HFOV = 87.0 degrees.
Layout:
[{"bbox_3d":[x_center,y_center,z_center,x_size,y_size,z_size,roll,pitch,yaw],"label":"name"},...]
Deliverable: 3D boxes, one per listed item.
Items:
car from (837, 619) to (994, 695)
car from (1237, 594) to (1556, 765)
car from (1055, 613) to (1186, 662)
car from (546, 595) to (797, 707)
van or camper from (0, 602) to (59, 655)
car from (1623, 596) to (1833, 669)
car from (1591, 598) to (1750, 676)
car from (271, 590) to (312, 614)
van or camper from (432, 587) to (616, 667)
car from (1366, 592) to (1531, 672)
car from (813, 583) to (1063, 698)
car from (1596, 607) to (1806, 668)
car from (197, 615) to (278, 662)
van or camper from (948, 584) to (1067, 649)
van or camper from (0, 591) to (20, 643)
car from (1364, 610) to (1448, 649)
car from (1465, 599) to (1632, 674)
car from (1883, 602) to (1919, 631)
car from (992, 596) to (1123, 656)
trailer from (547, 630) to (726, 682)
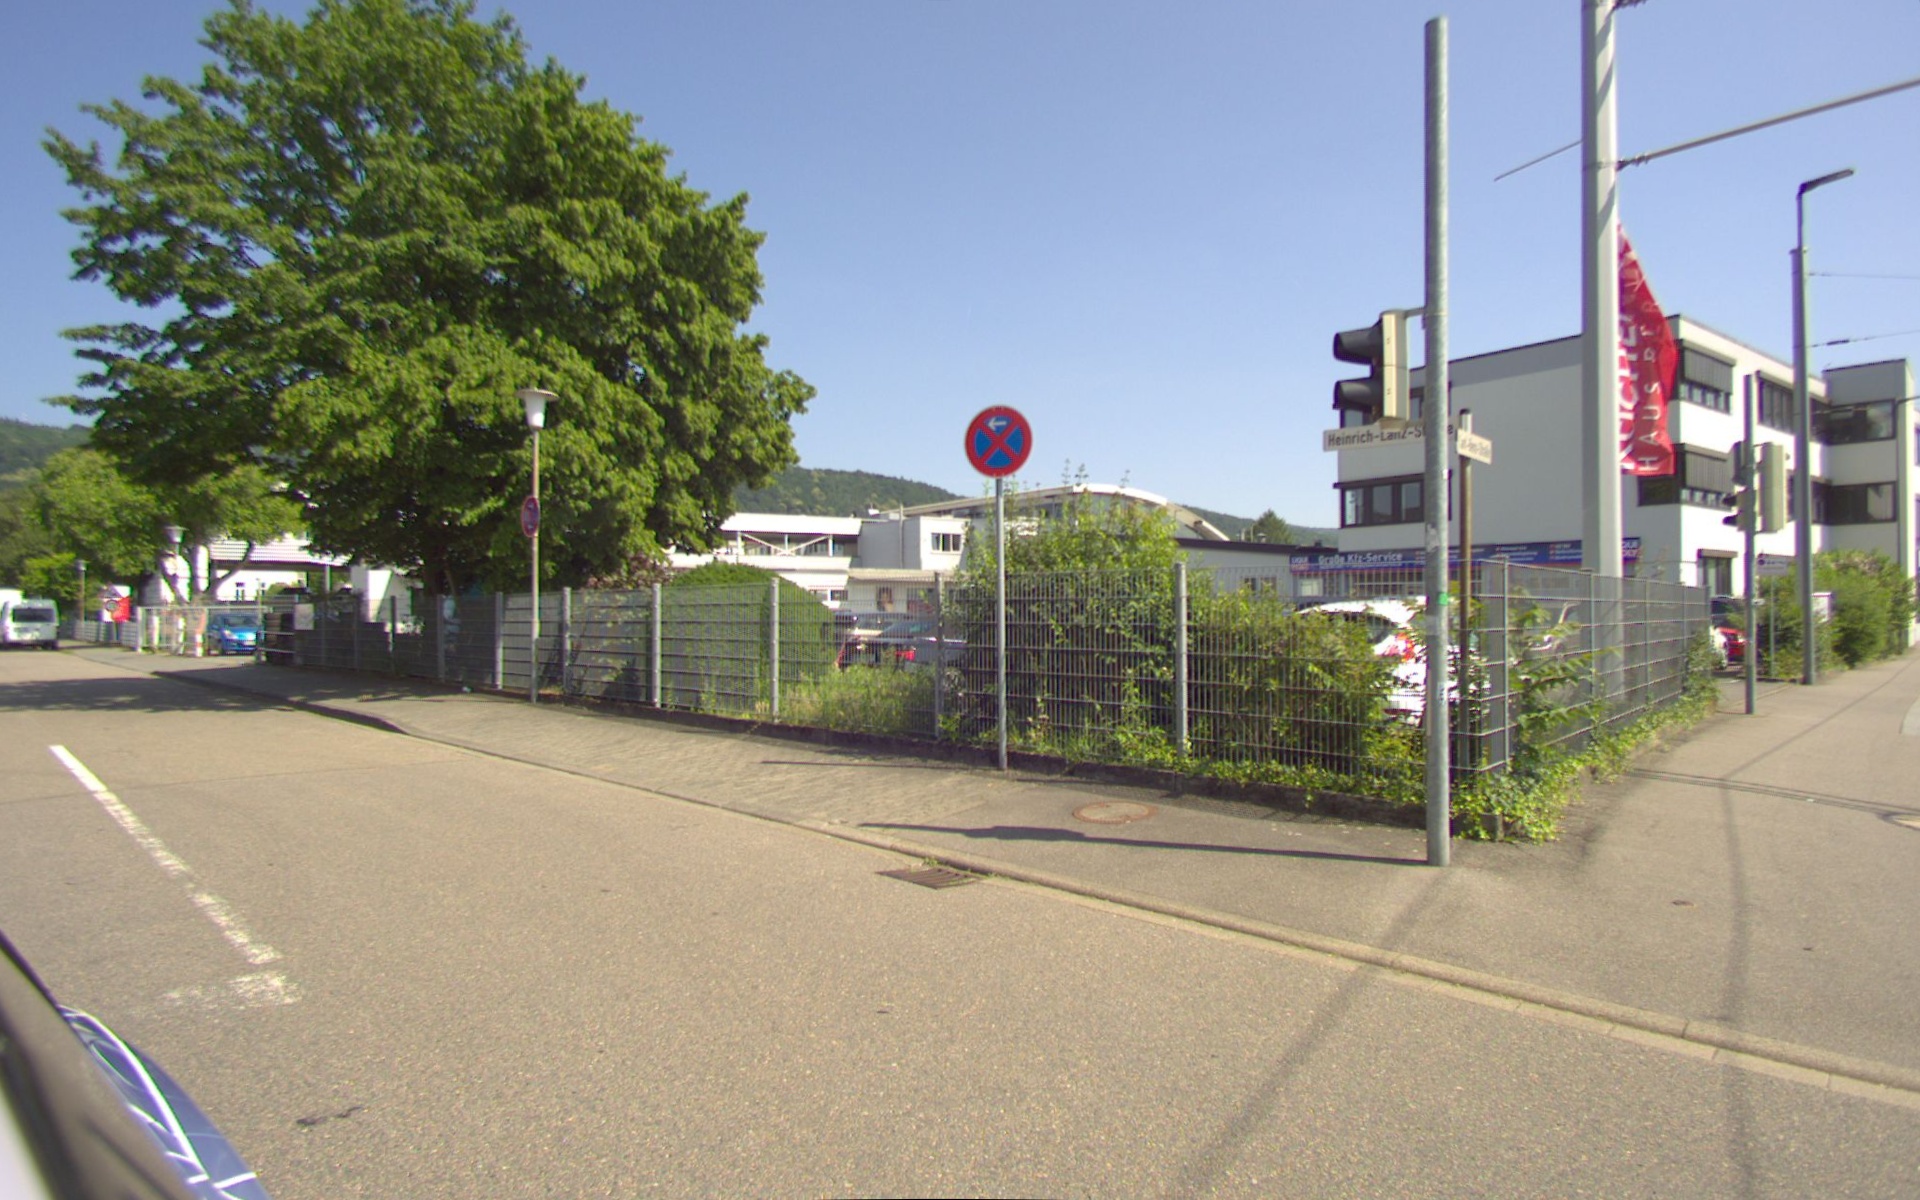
[{"bbox_3d":[-0.922,1.165,21.721,3.034,1.484,1.654,1,-1,-44],"label":"car"},{"bbox_3d":[4.677,0.708,10.569,3.896,1.444,1.714,2,-1,-44],"label":"car"},{"bbox_3d":[5.565,1.243,34.816,4.353,1.569,1.996,1,-1,-37],"label":"car"},{"bbox_3d":[-4.281,0.706,15.279,3.339,1.496,1.519,1,-1,-44],"label":"car"},{"bbox_3d":[-44.046,1.314,47.648,4.686,2.395,2.001,0,-2,44],"label":"van or camper"},{"bbox_3d":[19.756,0.802,26.168,1.969,1.719,4.006,1,-1,-41],"label":"car"},{"bbox_3d":[15.469,0.752,21.991,3.773,1.553,1.745,0,-1,-37],"label":"car"},{"bbox_3d":[-42.365,0.122,64.180,1.680,1.469,3.537,0,-1,-26],"label":"car"},{"bbox_3d":[-11.623,0.651,27.165,4.134,1.877,1.775,-3,2,-44],"label":"van or camper"},{"bbox_3d":[12.044,0.748,24.880,3.934,1.798,2.005,0,-1,-36],"label":"car"},{"bbox_3d":[-0.237,0.584,15.743,1.856,1.553,3.784,-1,-1,41],"label":"car"},{"bbox_3d":[18.003,0.860,24.710,1.720,1.381,3.842,1,-1,-40],"label":"car"},{"bbox_3d":[-25.408,1.313,35.554,3.525,1.469,1.623,0,1,43],"label":"car"},{"bbox_3d":[1.844,0.603,38.440,4.529,2.323,1.784,0,0,-40],"label":"van or camper"},{"bbox_3d":[-65.898,1.155,68.843,5.592,3.396,2.491,-1,-1,44],"label":"van or camper"},{"bbox_3d":[16.854,1.097,38.223,3.079,1.437,1.426,0,-1,-32],"label":"car"},{"bbox_3d":[13.418,0.785,23.011,3.870,1.580,1.861,0,-1,-36],"label":"car"},{"bbox_3d":[54.672,0.933,56.776,1.969,1.530,4.007,-2,1,-40],"label":"car"},{"bbox_3d":[3.548,0.904,36.477,4.506,2.029,2.062,1,-1,-38],"label":"car"},{"bbox_3d":[-6.796,1.144,21.408,3.244,0.946,1.613,1,-1,-44],"label":"trailer"}]
